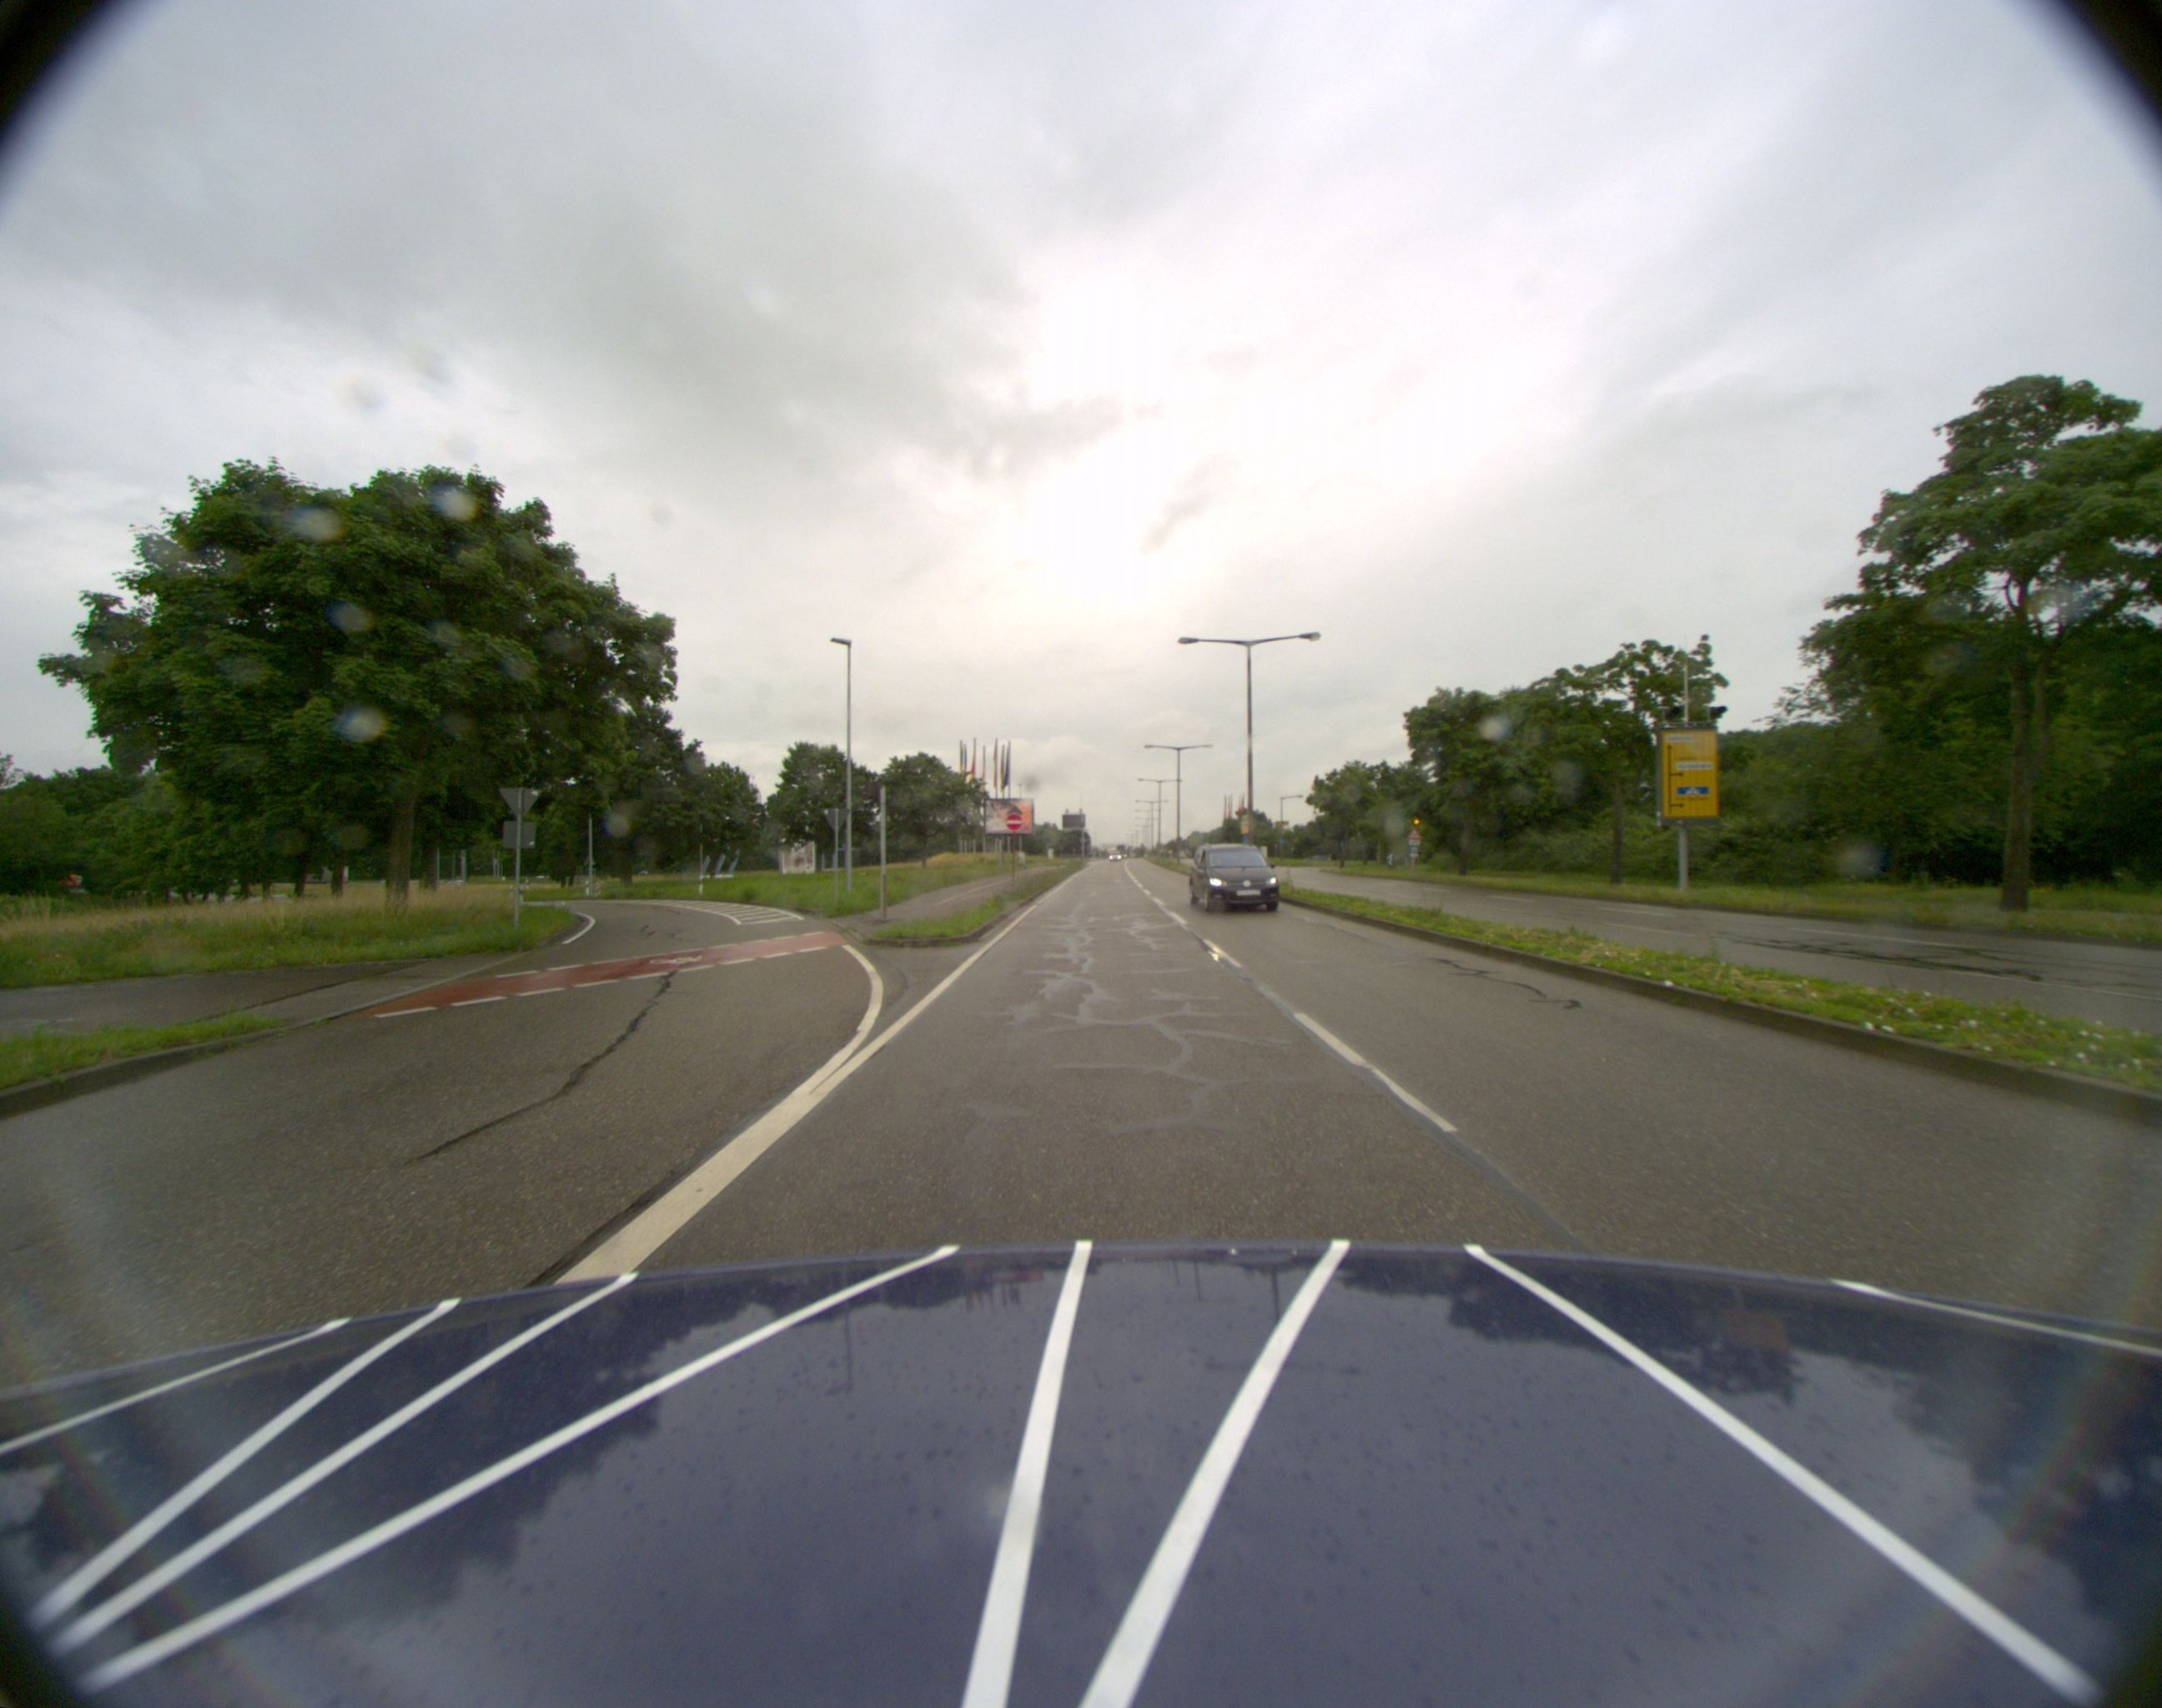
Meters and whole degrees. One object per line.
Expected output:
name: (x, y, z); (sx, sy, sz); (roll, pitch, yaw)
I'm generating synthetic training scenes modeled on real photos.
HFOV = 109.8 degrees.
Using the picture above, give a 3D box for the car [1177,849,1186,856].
car: (24.870, -0.459, 188.558); (1.711, 1.620, 4.492); (2, 1, 3)

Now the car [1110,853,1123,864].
car: (5.770, 0.737, 124.816); (1.998, 1.701, 4.000); (-1, 0, 2)

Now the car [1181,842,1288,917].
car: (3.982, 0.614, 20.555); (1.850, 1.740, 4.817); (-2, 0, 0)

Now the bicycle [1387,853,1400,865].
bicycle: (25.525, 0.411, 62.085); (0.523, 0.881, 1.633); (-2, 1, 3)

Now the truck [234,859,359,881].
truck: (-140.993, 2.771, 136.845); (16.275, 3.371, 2.745); (-2, 1, -16)

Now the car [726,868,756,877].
car: (-70.339, 3.871, 157.240); (5.293, 1.597, 2.237); (-1, 0, -18)

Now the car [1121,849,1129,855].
car: (11.526, -0.521, 199.315); (1.998, 1.703, 4.001); (-1, 0, 2)

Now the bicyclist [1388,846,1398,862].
bicyclist: (25.512, 0.026, 62.073); (0.523, 1.295, 0.808); (-2, 1, 3)
